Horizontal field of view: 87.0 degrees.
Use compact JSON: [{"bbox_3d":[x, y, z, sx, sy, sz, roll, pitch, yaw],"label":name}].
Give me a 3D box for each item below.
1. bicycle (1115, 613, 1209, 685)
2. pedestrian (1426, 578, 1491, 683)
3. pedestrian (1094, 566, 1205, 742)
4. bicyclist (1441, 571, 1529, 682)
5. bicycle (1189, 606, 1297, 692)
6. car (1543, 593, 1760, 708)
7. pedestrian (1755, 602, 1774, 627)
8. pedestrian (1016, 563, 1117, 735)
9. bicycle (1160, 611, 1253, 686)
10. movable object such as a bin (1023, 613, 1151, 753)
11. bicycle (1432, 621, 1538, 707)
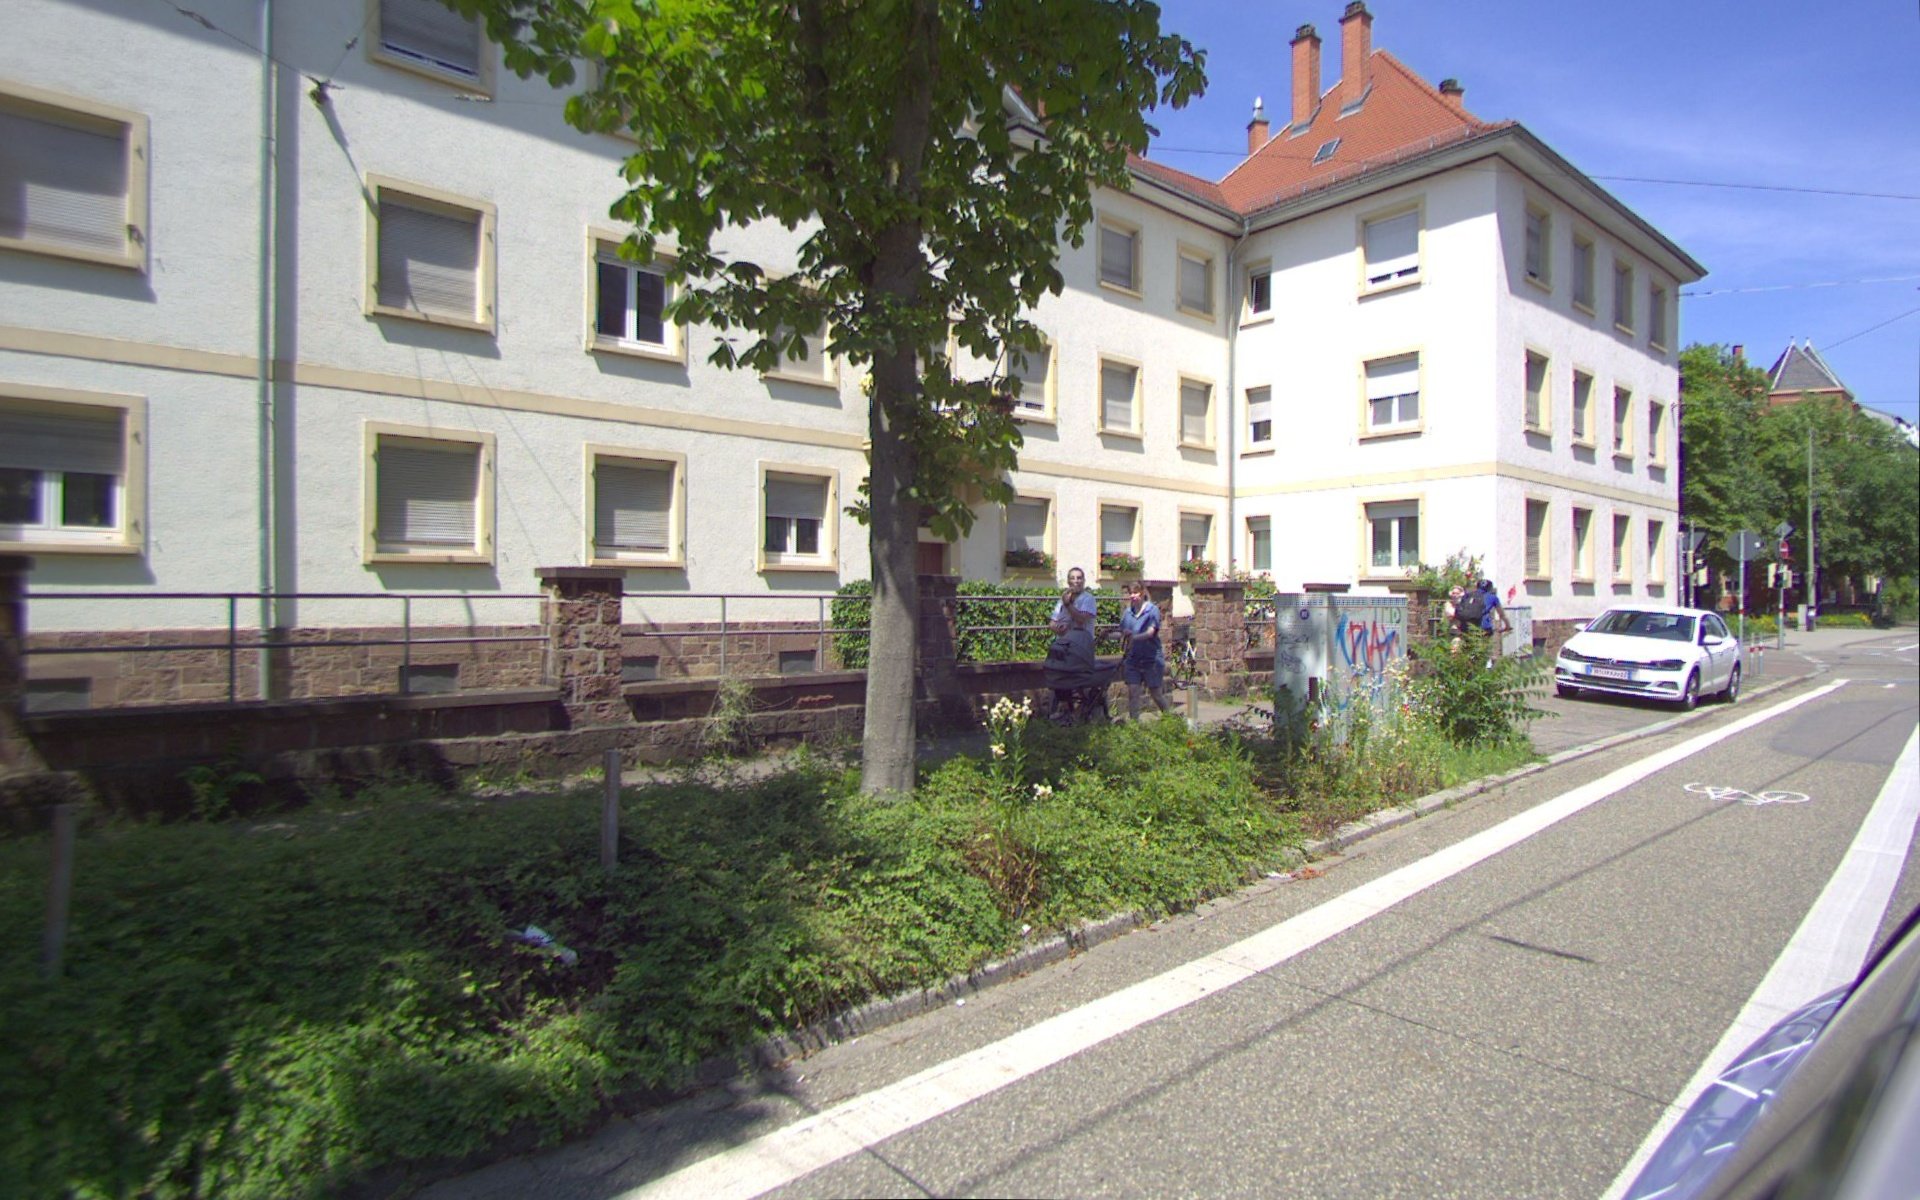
[{"bbox_3d":[3.260,0.755,16.242,0.597,1.077,1.813,-1,-1,44],"label":"bicycle"},{"bbox_3d":[8.225,0.489,16.694,0.743,1.691,0.698,0,-1,-41],"label":"pedestrian"},{"bbox_3d":[1.923,0.509,10.264,0.854,1.690,0.698,0,2,-41],"label":"pedestrian"},{"bbox_3d":[7.225,0.351,13.929,0.992,1.470,0.712,0,-1,-38],"label":"bicyclist"},{"bbox_3d":[4.186,0.687,14.928,1.721,1.190,0.598,0,-1,-37],"label":"bicycle"},{"bbox_3d":[10.763,0.670,15.658,4.085,1.427,1.781,-1,4,-42],"label":"car"},{"bbox_3d":[39.420,0.709,49.604,0.648,1.165,0.635,-2,-1,34],"label":"pedestrian"},{"bbox_3d":[1.099,0.472,10.458,0.743,1.690,0.698,0,2,-41],"label":"pedestrian"},{"bbox_3d":[3.834,0.720,15.655,0.527,1.077,1.835,-1,-1,44],"label":"bicycle"},{"bbox_3d":[1.211,0.752,9.642,1.018,1.200,0.698,0,2,-41],"label":"movable object such as a bin"},{"bbox_3d":[7.233,0.846,13.910,1.789,1.064,0.603,0,-1,-38],"label":"bicycle"}]
